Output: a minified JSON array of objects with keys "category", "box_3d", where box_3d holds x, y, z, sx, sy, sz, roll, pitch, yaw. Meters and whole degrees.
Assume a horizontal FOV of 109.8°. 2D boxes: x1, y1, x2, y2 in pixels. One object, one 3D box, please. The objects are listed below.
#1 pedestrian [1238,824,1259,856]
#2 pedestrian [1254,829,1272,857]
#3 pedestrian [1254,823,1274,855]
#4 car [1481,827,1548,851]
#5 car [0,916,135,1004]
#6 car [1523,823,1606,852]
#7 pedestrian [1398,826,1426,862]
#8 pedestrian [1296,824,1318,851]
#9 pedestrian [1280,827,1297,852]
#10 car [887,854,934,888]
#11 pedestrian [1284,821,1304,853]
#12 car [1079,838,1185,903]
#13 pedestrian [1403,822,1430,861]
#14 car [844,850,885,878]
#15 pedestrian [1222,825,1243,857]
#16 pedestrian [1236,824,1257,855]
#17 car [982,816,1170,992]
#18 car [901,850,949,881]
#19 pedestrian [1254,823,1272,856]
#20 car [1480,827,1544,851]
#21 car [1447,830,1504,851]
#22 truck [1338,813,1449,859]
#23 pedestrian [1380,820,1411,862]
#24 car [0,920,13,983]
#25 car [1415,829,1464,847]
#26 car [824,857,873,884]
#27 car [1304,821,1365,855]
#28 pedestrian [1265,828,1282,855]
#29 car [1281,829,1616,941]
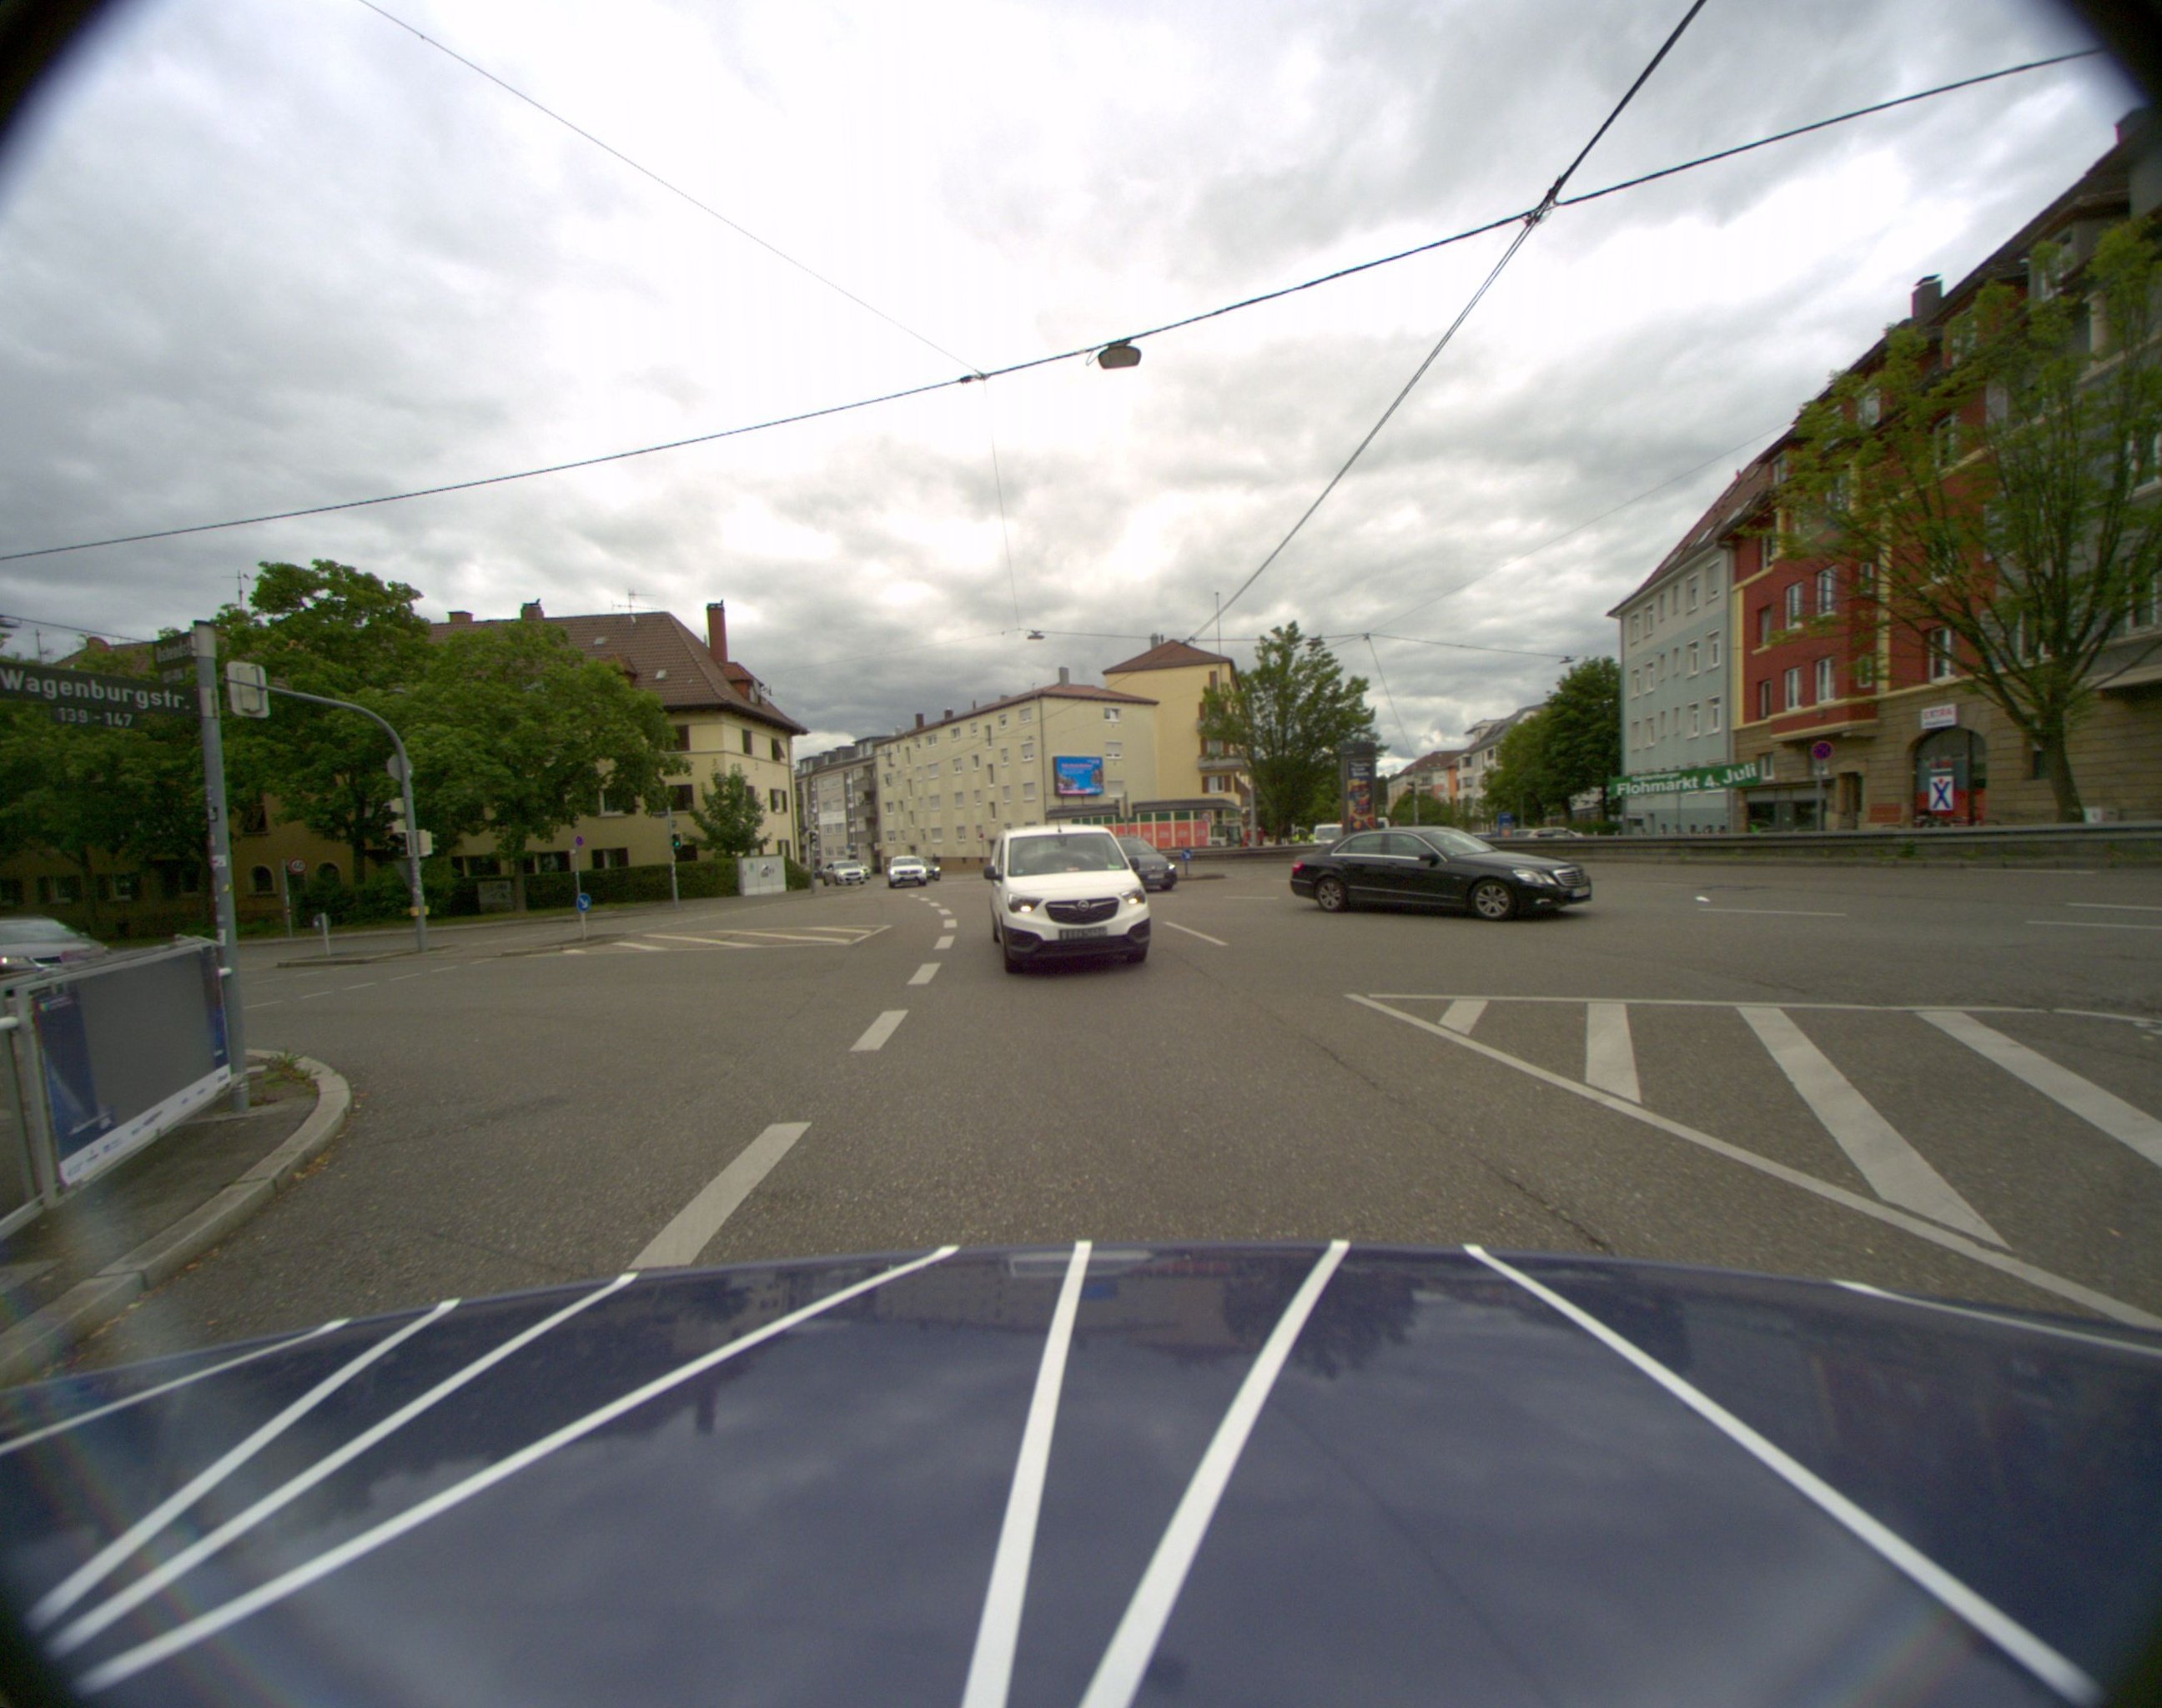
[{"category":"pedestrian","box_3d":[8.668,-0.713,39.357,0.770,1.610,0.651,-2,3,40]},{"category":"pedestrian","box_3d":[10.977,-0.666,45.910,0.866,1.610,0.919,-3,2,21]},{"category":"pedestrian","box_3d":[9.661,-0.800,40.157,0.772,1.610,0.649,-4,2,-9]},{"category":"car","box_3d":[32.303,-1.107,56.721,1.896,1.590,3.922,-6,3,-44]},{"category":"car","box_3d":[-23.369,2.299,16.600,4.044,1.563,1.797,-3,2,15]},{"category":"car","box_3d":[30.186,-0.989,47.540,1.896,1.590,3.923,-5,2,-37]},{"category":"pedestrian","box_3d":[12.664,-0.396,29.062,0.664,1.333,0.627,-5,3,-25]},{"category":"pedestrian","box_3d":[16.574,-1.204,55.693,0.929,1.948,1.266,-4,2,-16]},{"category":"pedestrian","box_3d":[13.816,-0.989,50.563,0.866,1.610,1.213,-3,2,21]},{"category":"car","box_3d":[-8.293,0.797,37.178,1.909,1.470,3.884,-3,0,-9]},{"category":"pedestrian","box_3d":[11.248,-0.896,40.088,0.770,1.610,0.651,-2,3,35]},{"category":"car","box_3d":[1.386,0.451,23.021,1.859,1.605,4.724,-5,1,-12]},{"category":"pedestrian","box_3d":[12.539,-0.471,28.408,0.605,1.424,0.600,-5,3,-25]},{"category":"car","box_3d":[-17.285,0.764,60.547,2.003,2.002,4.259,-5,2,-30]},{"category":"pedestrian","box_3d":[7.971,-0.691,40.037,0.773,1.610,0.648,-5,3,-34]},{"category":"pedestrian","box_3d":[8.915,-0.776,40.878,0.773,1.610,0.648,-5,3,-29]},{"category":"car","box_3d":[-0.345,0.541,10.665,1.859,1.798,4.725,-4,0,-9]},{"category":"car","box_3d":[-8.873,0.676,42.920,2.041,1.541,4.029,-3,0,-19]},{"category":"pedestrian","box_3d":[9.246,-0.724,38.591,0.606,1.610,0.553,-5,3,-27]},{"category":"car","box_3d":[33.565,-1.168,59.231,1.896,1.590,3.922,-6,3,-44]},{"category":"car","box_3d":[33.979,-1.152,65.554,1.896,1.590,3.922,-6,3,-44]},{"category":"truck","box_3d":[19.673,-1.154,47.843,6.464,2.707,2.767,-2,0,-26]},{"category":"pedestrian","box_3d":[12.329,-0.519,29.779,0.706,1.574,0.801,-5,3,-26]},{"category":"car","box_3d":[-29.163,2.591,18.733,4.044,1.563,1.885,-3,2,15]},{"category":"car","box_3d":[35.928,-1.594,76.221,1.896,1.590,3.922,-6,3,-44]},{"category":"car","box_3d":[-15.289,1.106,49.876,1.957,1.541,4.026,-3,0,-33]},{"category":"car","box_3d":[13.917,-0.924,41.497,2.207,1.563,4.484,-2,2,31]},{"category":"pedestrian","box_3d":[12.174,-0.805,47.970,0.866,1.610,0.919,-3,2,21]},{"category":"car","box_3d":[5.788,0.412,12.641,1.844,1.411,4.727,-5,2,-32]}]
